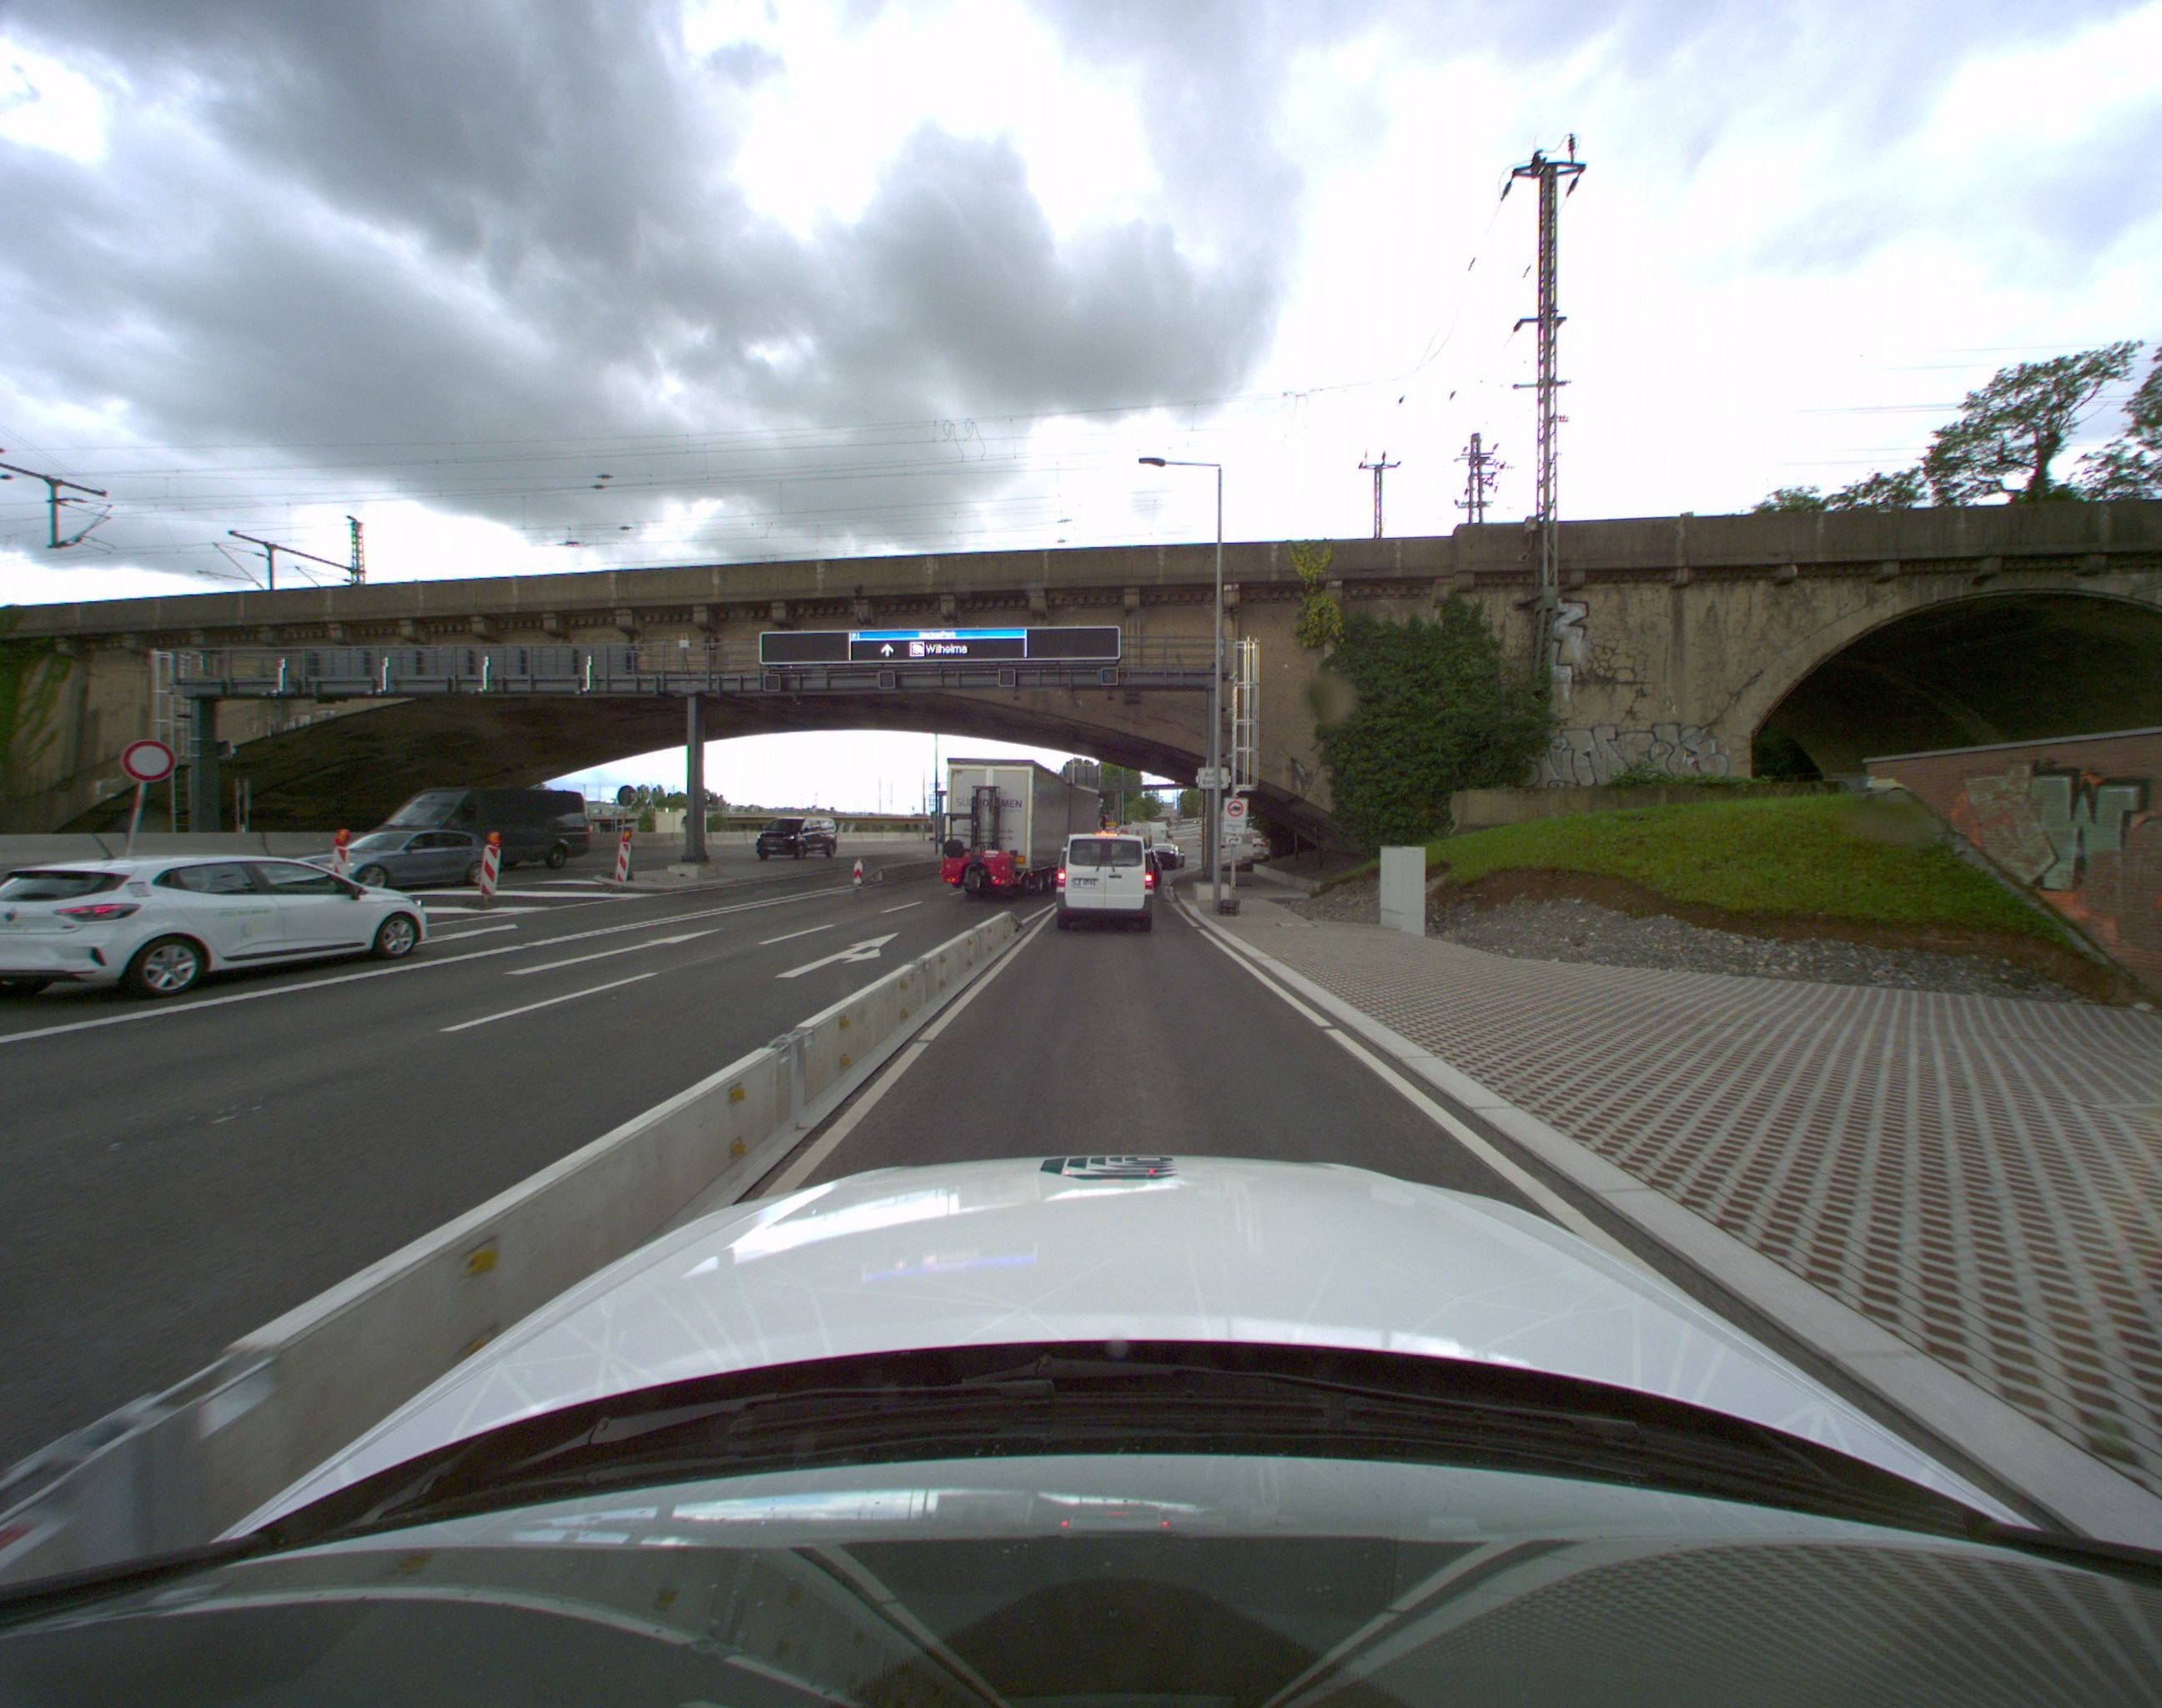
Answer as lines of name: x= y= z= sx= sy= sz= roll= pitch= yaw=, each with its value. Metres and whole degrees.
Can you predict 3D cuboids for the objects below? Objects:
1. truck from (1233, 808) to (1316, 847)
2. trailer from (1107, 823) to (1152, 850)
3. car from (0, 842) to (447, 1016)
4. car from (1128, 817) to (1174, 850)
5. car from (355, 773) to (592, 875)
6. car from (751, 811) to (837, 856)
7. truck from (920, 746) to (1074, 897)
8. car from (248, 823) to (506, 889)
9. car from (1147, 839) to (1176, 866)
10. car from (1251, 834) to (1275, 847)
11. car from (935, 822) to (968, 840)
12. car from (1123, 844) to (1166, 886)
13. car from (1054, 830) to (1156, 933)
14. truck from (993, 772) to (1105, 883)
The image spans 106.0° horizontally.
truck: x=21.194 y=-2.796 z=87.834 sx=3.285 sy=3.808 sz=16.699 roll=3 pitch=3 yaw=32
trailer: x=3.801 y=-1.354 z=63.410 sx=1.976 sy=1.957 sz=4.103 roll=3 pitch=3 yaw=26
car: x=-9.852 y=0.667 z=9.564 sx=1.570 sy=1.484 sz=3.999 roll=2 pitch=2 yaw=1
car: x=5.859 y=-1.741 z=67.559 sx=1.976 sy=2.541 sz=5.205 roll=3 pitch=3 yaw=26
car: x=-18.548 y=-0.881 z=25.437 sx=2.202 sy=2.776 sz=6.159 roll=0 pitch=1 yaw=8
car: x=-13.872 y=-1.011 z=39.720 sx=1.953 sy=2.013 sz=5.197 roll=1 pitch=2 yaw=4
truck: x=-2.321 y=-0.865 z=26.941 sx=2.903 sy=4.017 sz=10.218 roll=1 pitch=0 yaw=6
car: x=-15.691 y=-0.006 z=18.523 sx=1.876 sy=1.331 sz=4.264 roll=0 pitch=1 yaw=6
car: x=4.839 y=-0.130 z=48.992 sx=1.495 sy=1.468 sz=3.401 roll=1 pitch=2 yaw=2
car: x=21.020 y=-1.582 z=93.963 sx=1.359 sy=1.376 sz=3.484 roll=1 pitch=2 yaw=35
car: x=-12.540 y=-2.231 z=79.037 sx=1.686 sy=1.616 sz=4.012 roll=2 pitch=3 yaw=14
car: x=2.783 y=0.418 z=35.465 sx=1.741 sy=1.625 sz=3.850 roll=0 pitch=2 yaw=5
car: x=0.592 y=0.493 z=17.475 sx=1.868 sy=1.891 sz=4.758 roll=1 pitch=0 yaw=4
truck: x=-1.062 y=-1.008 z=36.583 sx=2.970 sy=4.176 sz=11.266 roll=1 pitch=0 yaw=8
